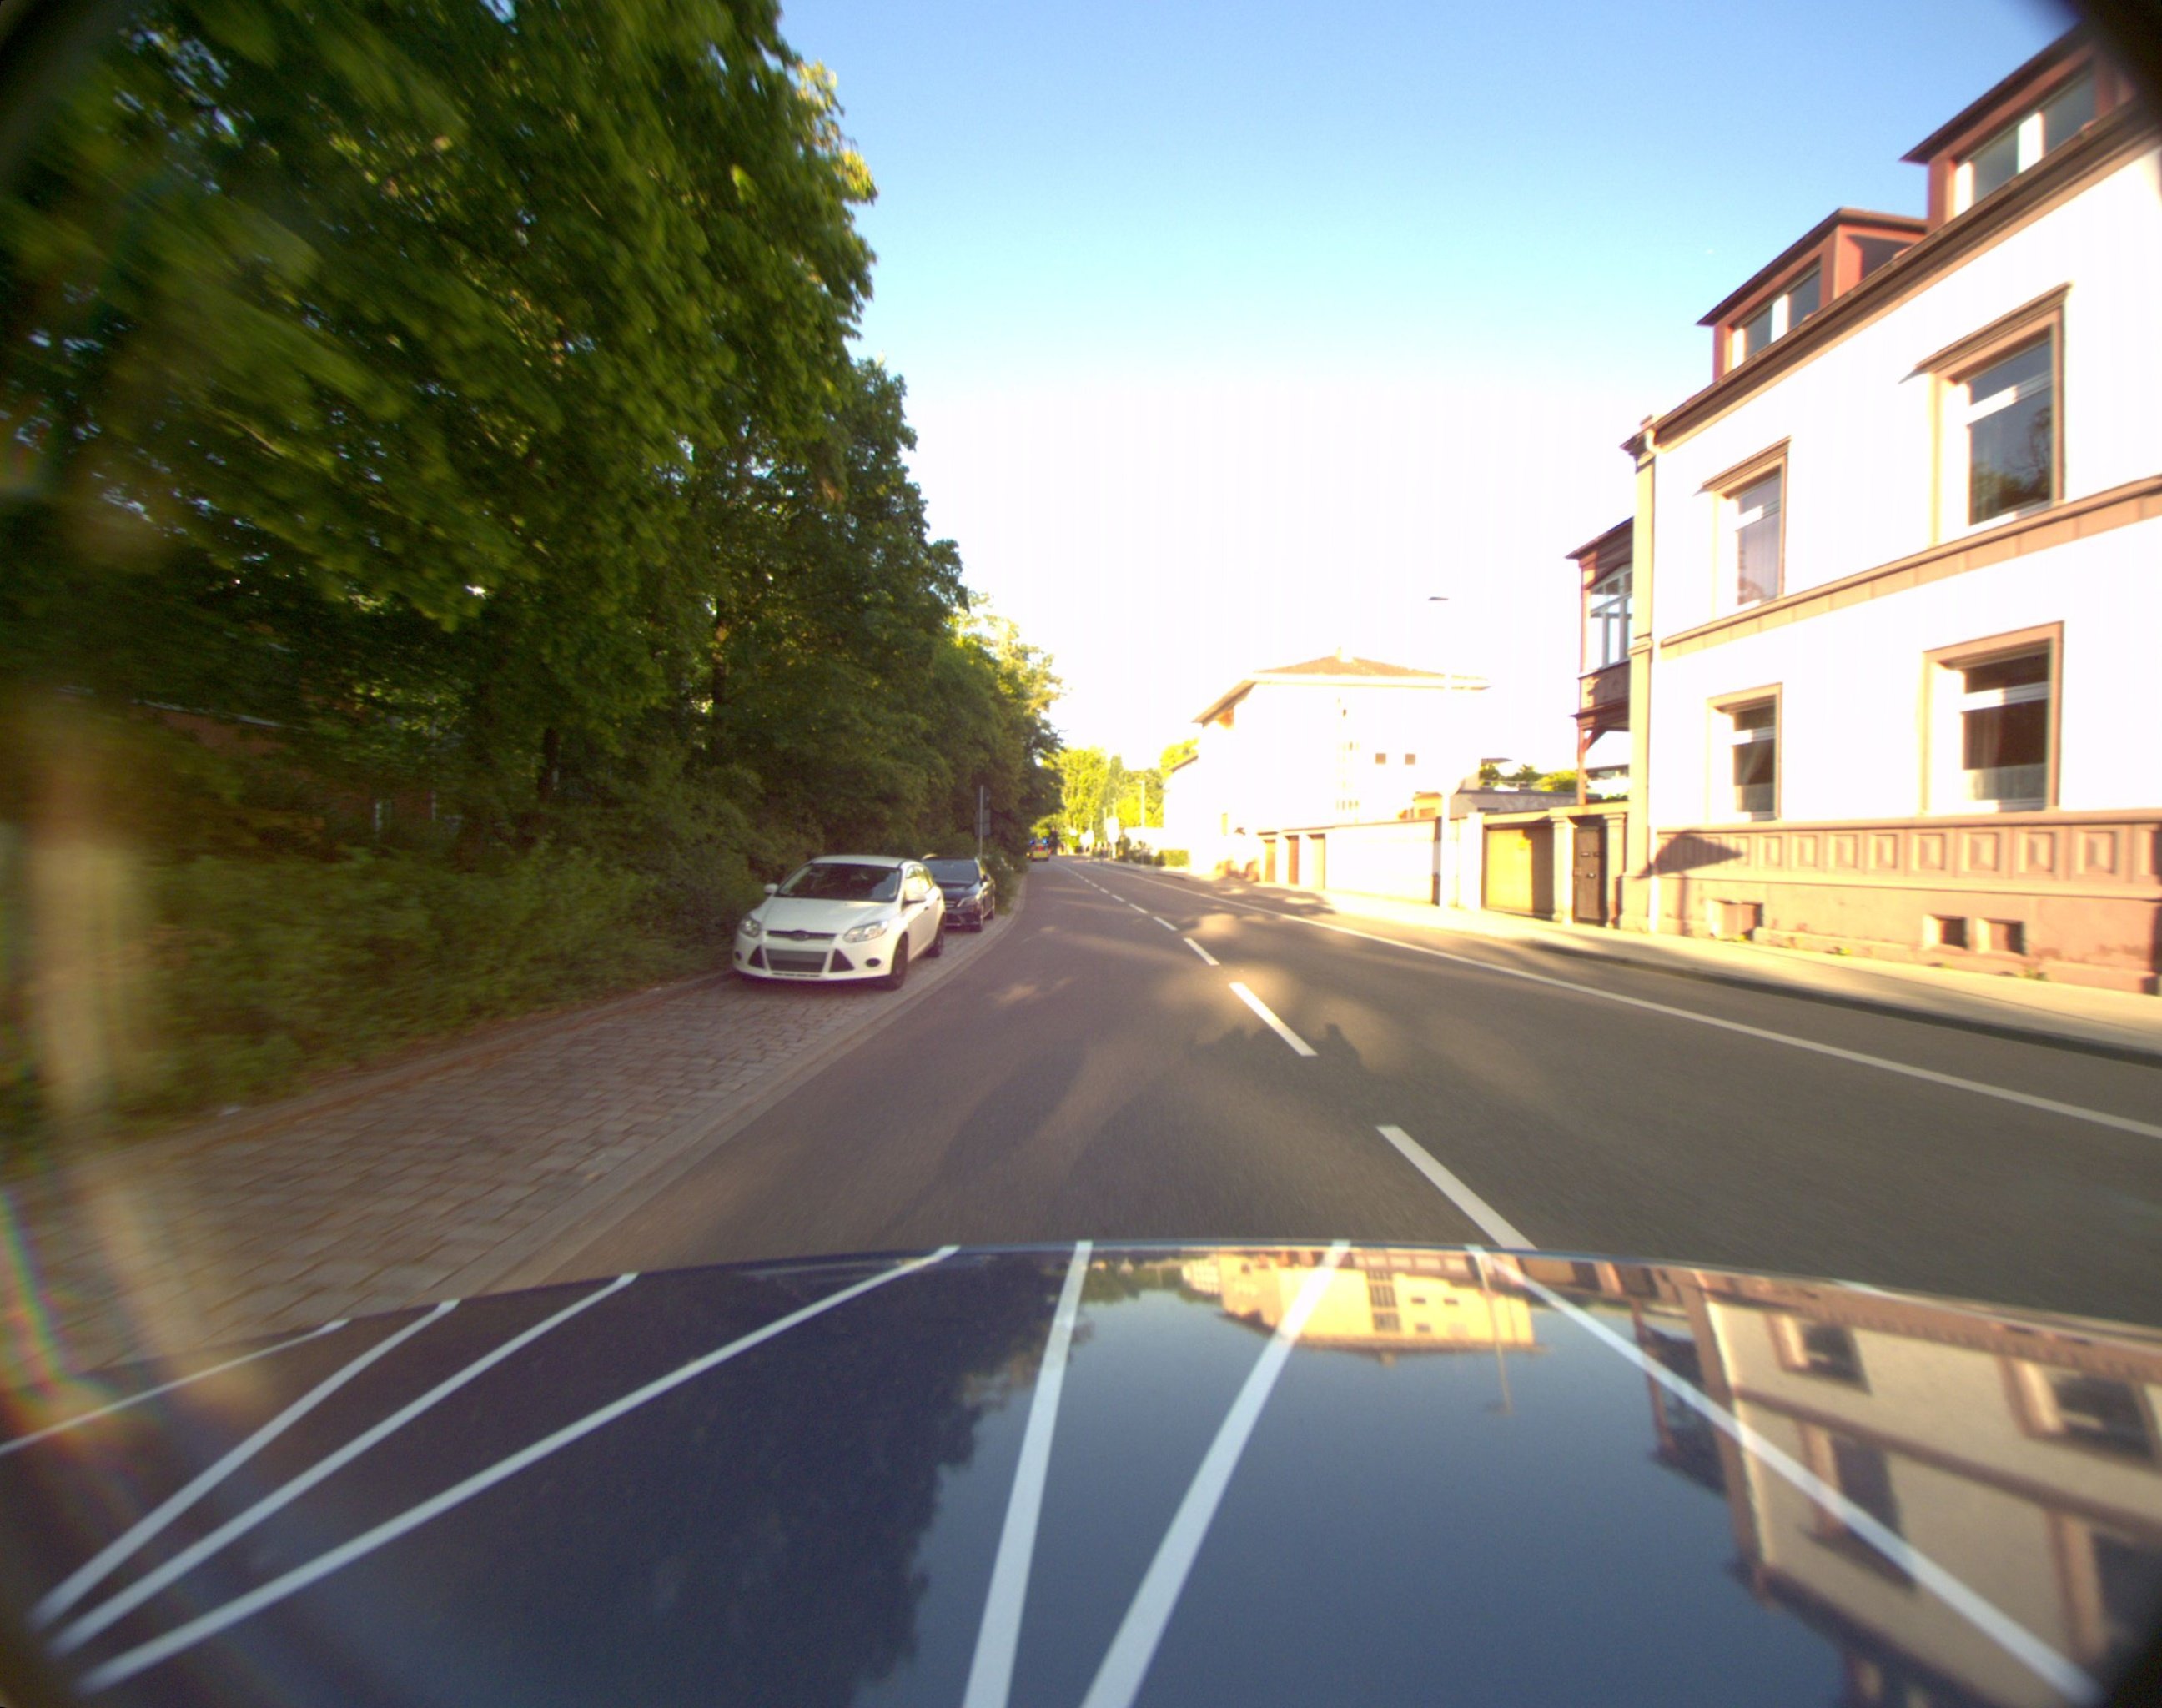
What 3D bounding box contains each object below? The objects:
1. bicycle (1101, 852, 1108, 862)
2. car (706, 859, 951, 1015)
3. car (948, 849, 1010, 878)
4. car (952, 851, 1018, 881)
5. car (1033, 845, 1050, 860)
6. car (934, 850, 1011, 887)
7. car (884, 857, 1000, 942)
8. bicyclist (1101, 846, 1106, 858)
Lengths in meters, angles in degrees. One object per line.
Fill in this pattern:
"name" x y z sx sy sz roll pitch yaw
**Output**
"bicycle" 2.519 0.289 82.860 0.576 1.056 1.848 0 1 -5
"car" -2.876 0.841 9.665 1.752 1.478 4.175 0 1 -1
"car" -5.427 0.482 40.600 2.984 1.519 1.530 1 1 5
"car" -4.762 0.585 37.798 3.118 1.452 1.529 0 1 -2
"car" -5.620 -0.263 109.045 2.228 2.002 4.889 0 1 0
"car" -4.595 0.604 32.577 3.118 1.520 1.529 0 1 -3
"car" -2.782 0.839 16.170 1.752 1.478 4.507 0 1 -2
"bicyclist" 2.499 -0.222 82.798 0.479 1.258 0.567 0 1 -4
